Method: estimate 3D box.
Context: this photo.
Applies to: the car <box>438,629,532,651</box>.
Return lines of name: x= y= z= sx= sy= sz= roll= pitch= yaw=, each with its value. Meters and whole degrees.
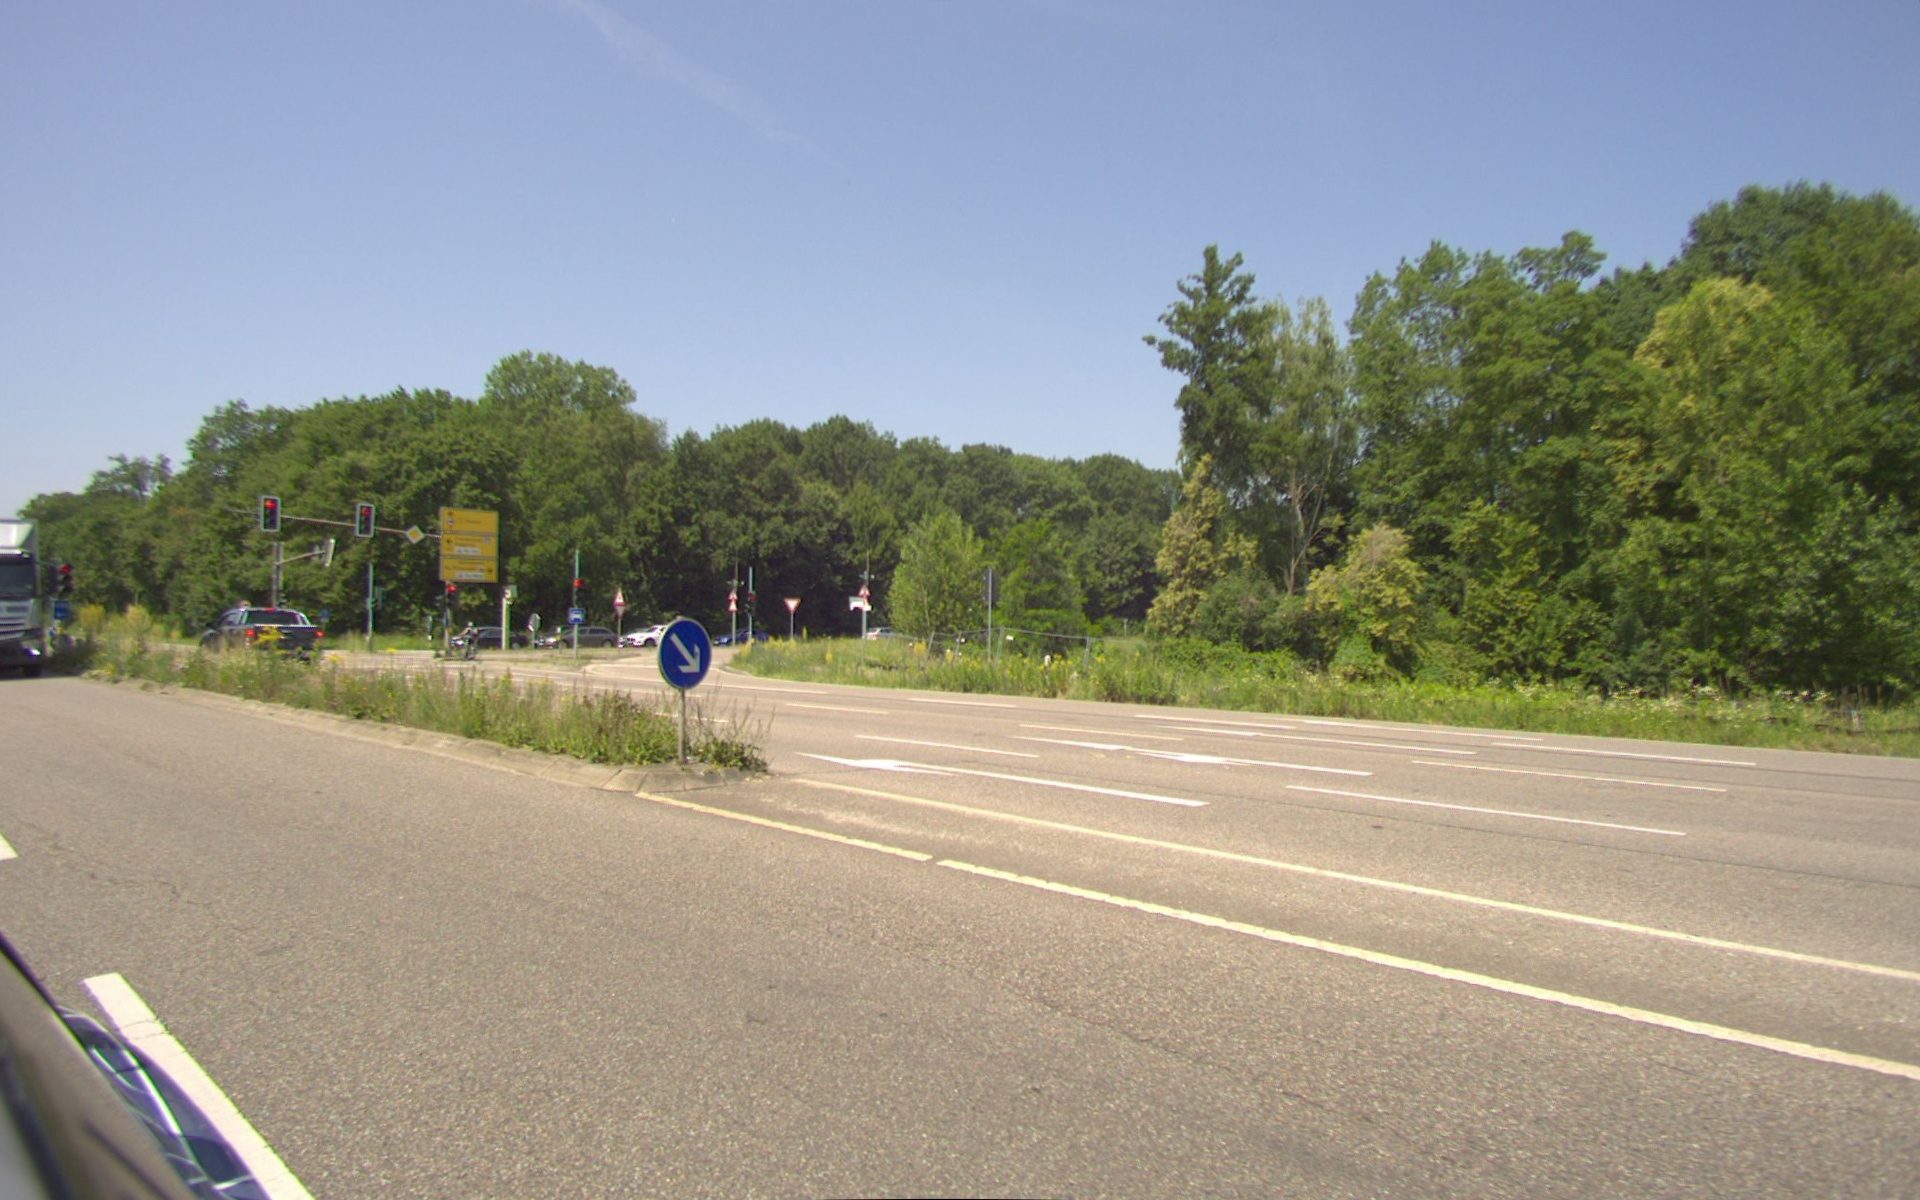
car: x=-28.810 y=2.424 z=61.504 sx=2.105 sy=1.300 sz=4.753 roll=-1 pitch=-2 yaw=42

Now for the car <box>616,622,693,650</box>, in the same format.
car: x=-21.212 y=2.489 z=70.322 sx=2.066 sy=1.910 sz=4.753 roll=-1 pitch=-3 yaw=42

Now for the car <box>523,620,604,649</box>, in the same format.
car: x=-27.098 y=2.369 z=69.307 sx=1.999 sy=1.912 sz=4.754 roll=-1 pitch=-2 yaw=41

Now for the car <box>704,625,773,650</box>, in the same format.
car: x=-16.487 y=2.805 z=75.552 sx=1.999 sy=1.770 sz=4.756 roll=-1 pitch=-2 yaw=40

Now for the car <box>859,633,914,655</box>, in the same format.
car: x=-5.245 y=3.106 z=72.460 sx=1.767 sy=1.402 sz=3.966 roll=-1 pitch=-1 yaw=36

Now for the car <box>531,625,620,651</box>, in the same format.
car: x=-23.446 y=2.320 z=61.838 sx=1.860 sy=1.530 sz=4.756 roll=-1 pitch=-2 yaw=40

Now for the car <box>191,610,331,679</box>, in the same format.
car: x=-19.109 y=1.175 z=27.548 sx=5.365 sy=1.691 sz=1.972 roll=-1 pitch=-3 yaw=43

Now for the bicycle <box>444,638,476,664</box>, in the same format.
bicycle: x=-21.170 y=2.155 z=42.870 sx=0.712 sy=1.071 sz=1.873 roll=1 pitch=-2 yaw=-11

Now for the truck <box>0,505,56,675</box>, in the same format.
truck: x=-26.587 y=-0.143 z=26.662 sx=11.314 sy=3.914 sz=2.718 roll=-1 pitch=-1 yaw=41

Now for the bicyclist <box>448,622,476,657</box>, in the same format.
bicyclist: x=-21.105 y=1.688 z=42.910 sx=0.911 sy=1.471 sz=0.718 roll=1 pitch=-2 yaw=-11
